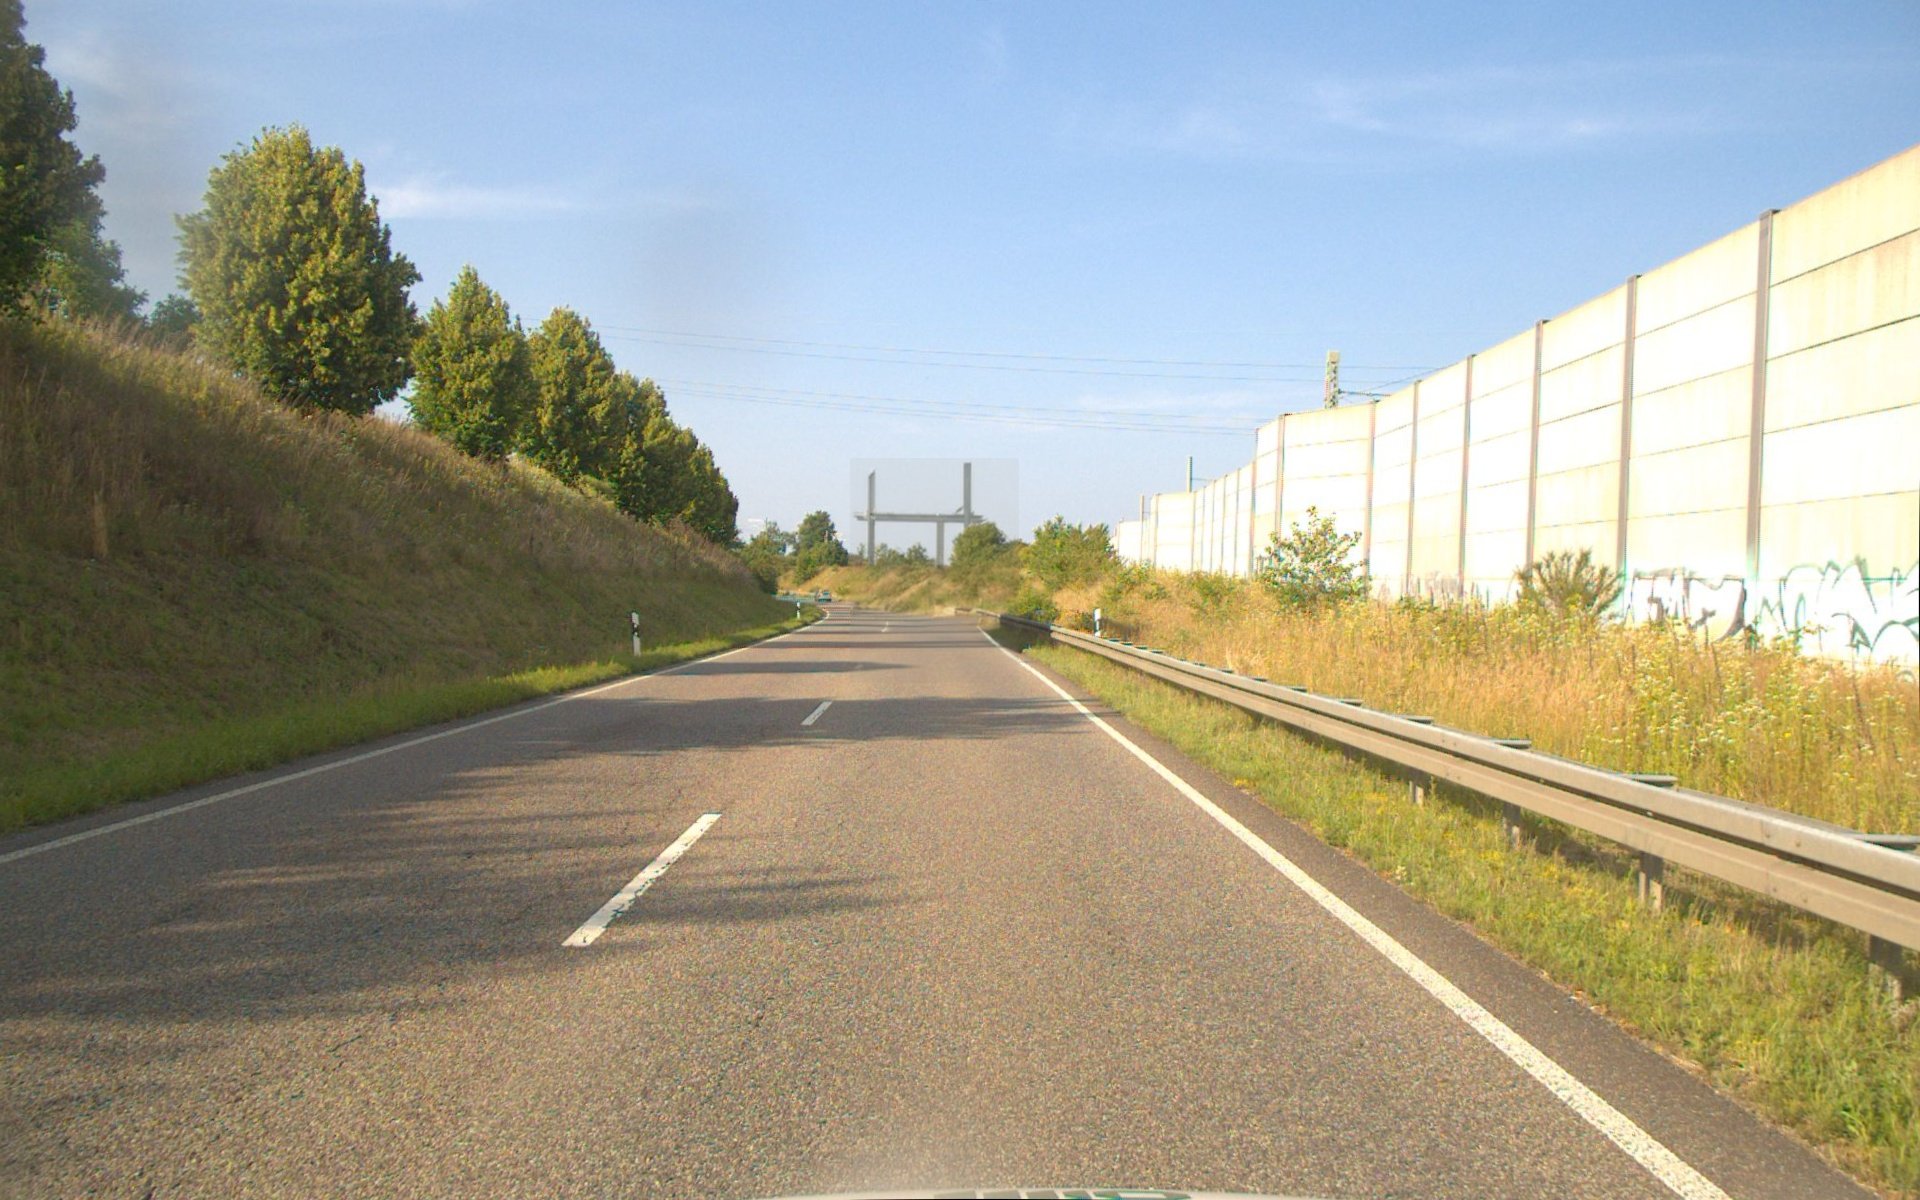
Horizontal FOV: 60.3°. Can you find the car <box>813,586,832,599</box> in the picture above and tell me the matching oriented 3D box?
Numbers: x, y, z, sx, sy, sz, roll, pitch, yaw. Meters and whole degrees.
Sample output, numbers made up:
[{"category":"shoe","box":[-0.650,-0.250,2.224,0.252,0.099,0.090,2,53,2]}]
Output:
[{"category":"car","box":[-17.187,-0.908,207.398,2.004,1.609,4.359,1,0,-1]}]

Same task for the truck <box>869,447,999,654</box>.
[{"category":"truck","box":[-0.888,-1.340,47.866,3.224,5.179,12.033,1,1,-2]}]
